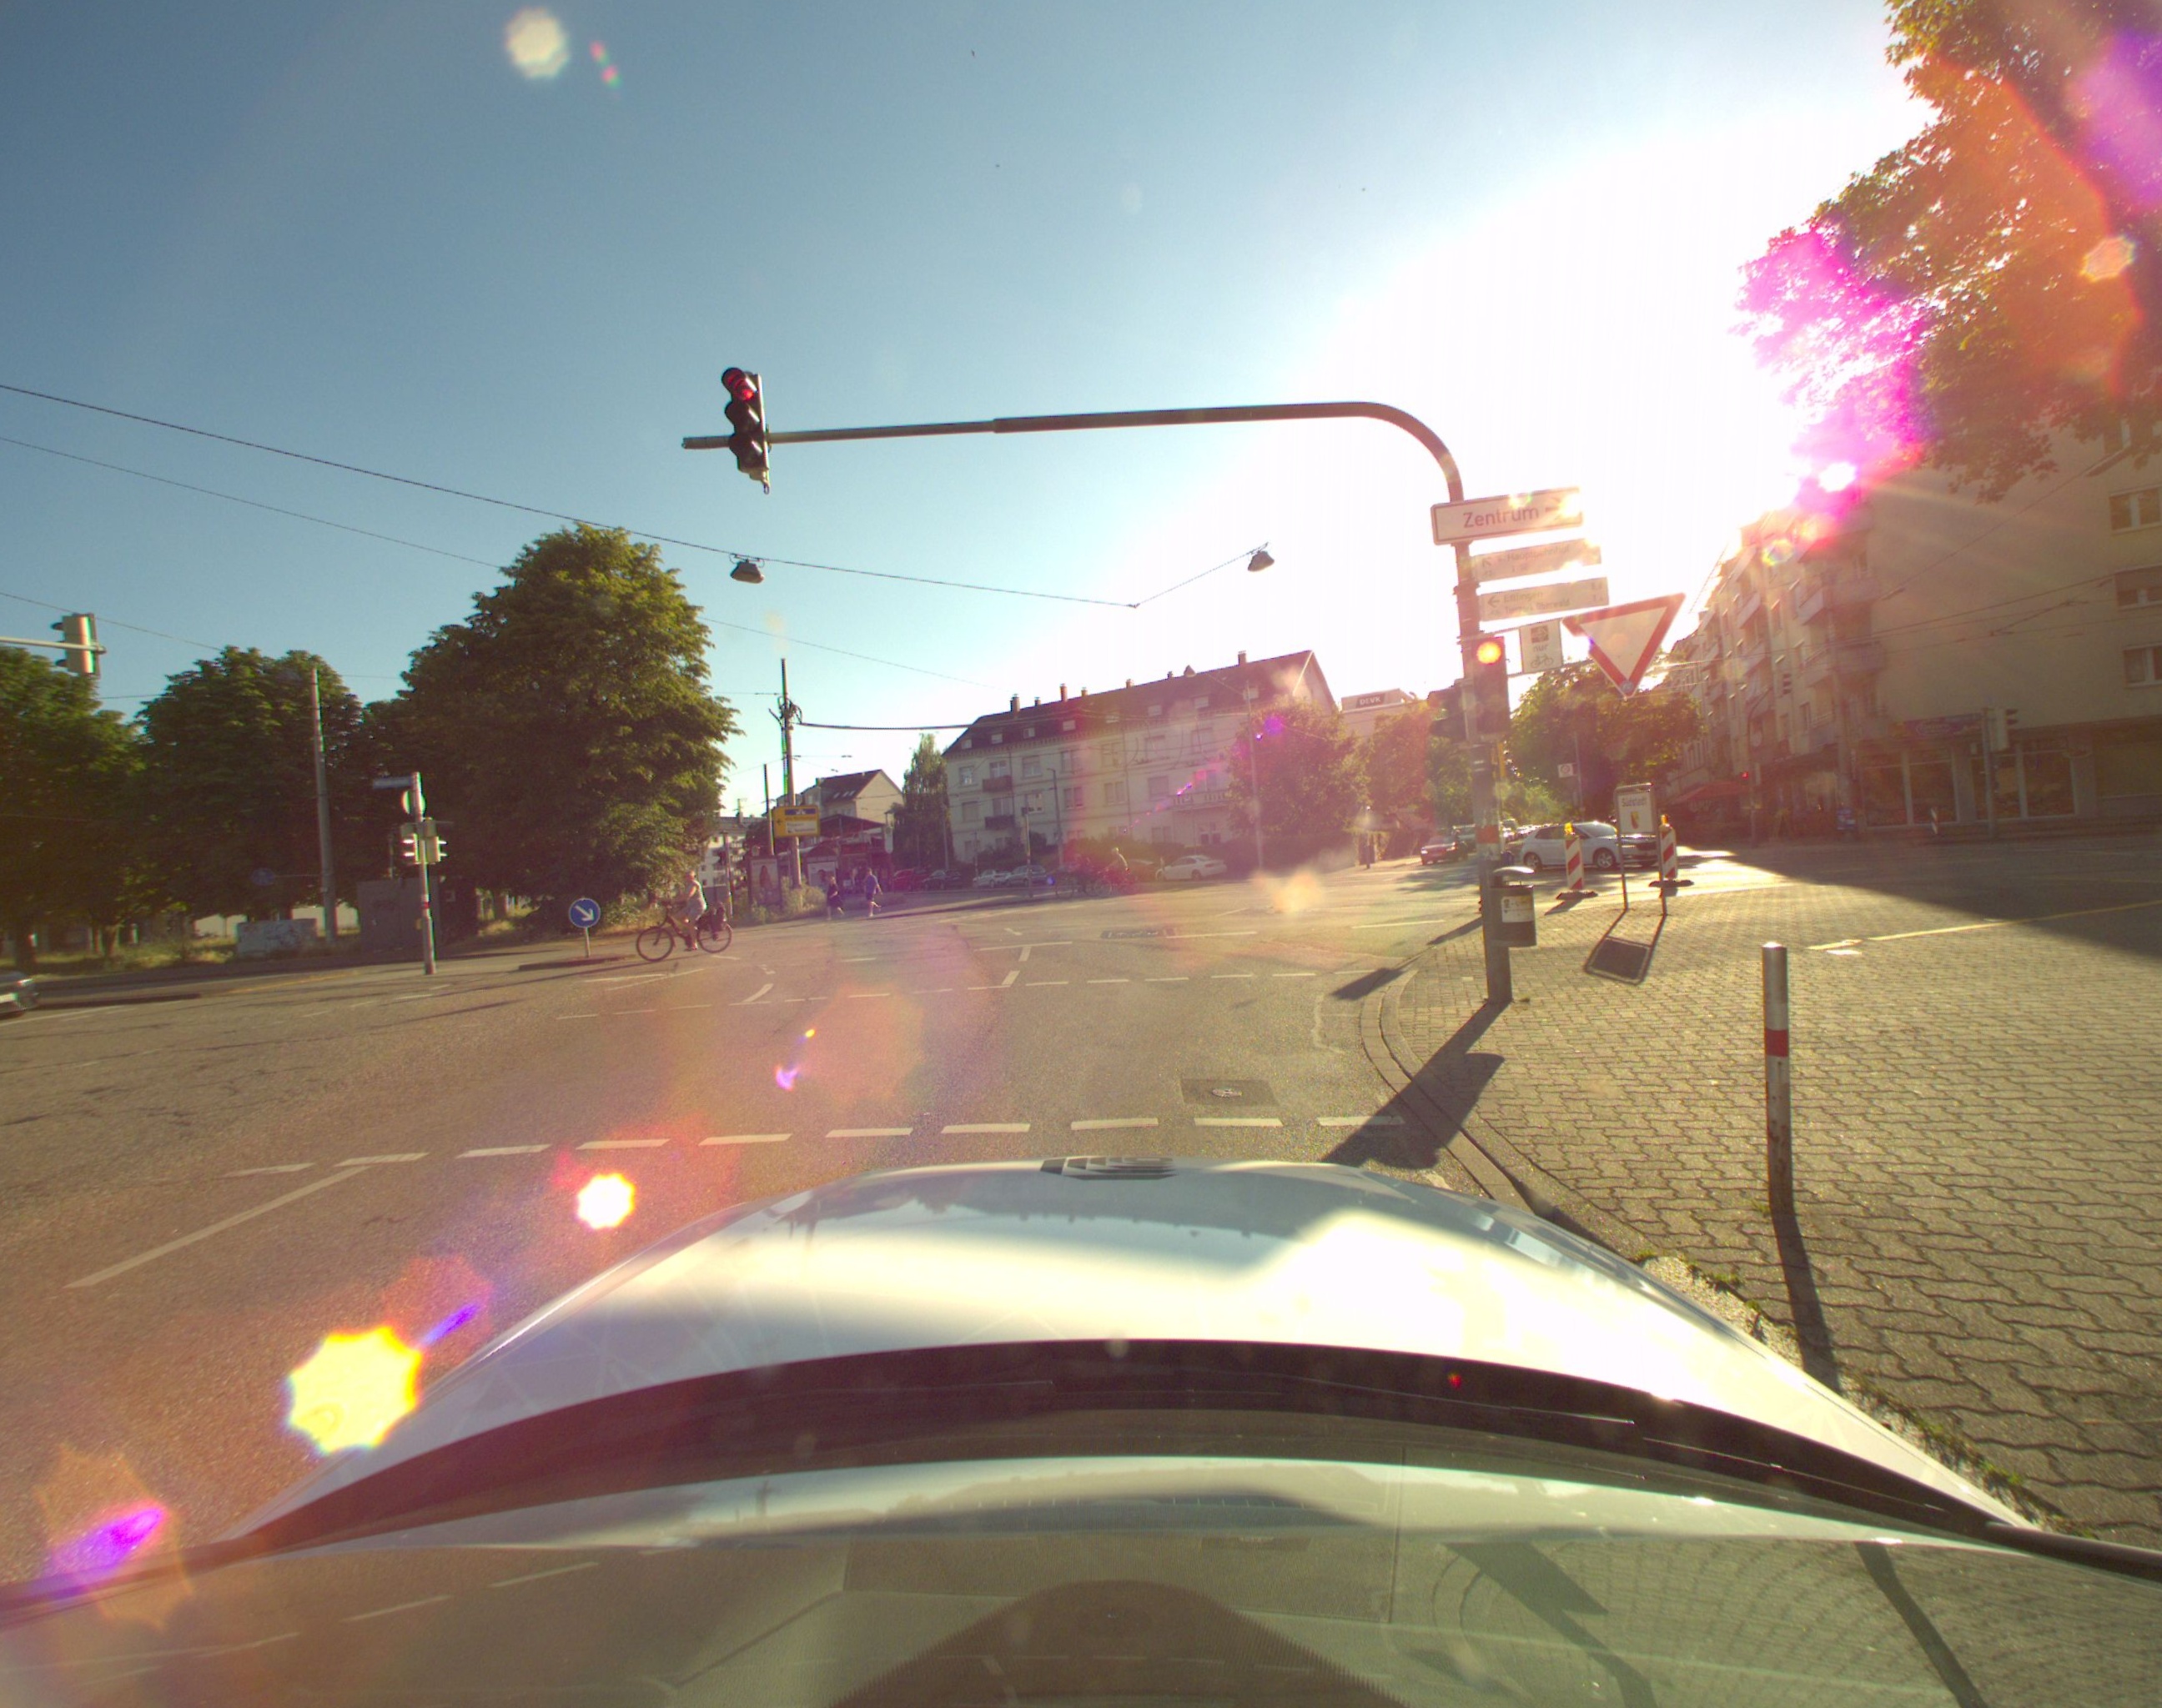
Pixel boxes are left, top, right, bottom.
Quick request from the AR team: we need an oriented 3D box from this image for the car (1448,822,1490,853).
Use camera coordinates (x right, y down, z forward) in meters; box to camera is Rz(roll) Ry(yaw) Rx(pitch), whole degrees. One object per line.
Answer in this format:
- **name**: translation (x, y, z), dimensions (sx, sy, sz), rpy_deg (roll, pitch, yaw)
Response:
- **car**: translation (28.388, -1.235, 59.445), dimensions (2.332, 2.013, 5.343), rpy_deg (-5, -1, 28)

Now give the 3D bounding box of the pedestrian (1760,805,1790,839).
- **pedestrian**: translation (33.822, -1.558, 39.686), dimensions (0.804, 1.544, 0.919), rpy_deg (-5, -1, 25)

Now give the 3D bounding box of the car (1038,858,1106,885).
- **car**: translation (-0.668, 1.197, 54.795), dimensions (1.998, 1.447, 4.650), rpy_deg (-7, 1, -39)

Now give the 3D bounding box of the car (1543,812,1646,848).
- **car**: translation (34.254, -1.545, 54.546), dimensions (5.567, 1.924, 2.377), rpy_deg (-5, -2, 28)

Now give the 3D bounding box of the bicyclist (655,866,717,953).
- **bicyclist**: translation (-7.765, 1.070, 16.001), dimensions (0.861, 1.605, 0.768), rpy_deg (-4, -1, -37)

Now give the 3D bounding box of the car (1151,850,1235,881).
- **car**: translation (6.272, 0.674, 46.124), dimensions (1.941, 1.376, 4.443), rpy_deg (-7, 1, -40)

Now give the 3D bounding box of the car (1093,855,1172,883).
- **car**: translation (3.125, 0.943, 50.195), dimensions (1.999, 1.376, 4.647), rpy_deg (-7, 1, -44)

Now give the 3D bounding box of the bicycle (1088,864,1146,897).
- **bicycle**: translation (1.314, 0.961, 30.047), dimensions (2.009, 1.069, 0.662), rpy_deg (-4, -1, -5)

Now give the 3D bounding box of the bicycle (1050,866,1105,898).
- **bicycle**: translation (-0.141, 1.061, 30.968), dimensions (2.009, 1.069, 0.662), rpy_deg (-4, -1, -5)

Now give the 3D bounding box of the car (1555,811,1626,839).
- **car**: translation (44.682, -2.514, 71.618), dimensions (5.042, 1.924, 2.377), rpy_deg (-5, -2, 28)

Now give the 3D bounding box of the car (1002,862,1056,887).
- **car**: translation (-3.743, 1.457, 58.114), dimensions (1.998, 1.447, 3.676), rpy_deg (-7, 1, -39)

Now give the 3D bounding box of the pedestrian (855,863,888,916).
- **pedestrian**: translation (-8.043, 1.361, 31.312), dimensions (0.910, 1.925, 1.066), rpy_deg (-4, -1, -3)

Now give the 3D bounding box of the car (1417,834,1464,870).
- **car**: translation (18.939, -0.129, 42.769), dimensions (1.876, 1.564, 4.419), rpy_deg (-8, -2, 26)

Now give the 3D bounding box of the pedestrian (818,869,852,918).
- **pedestrian**: translation (-9.396, 1.495, 31.135), dimensions (0.909, 1.747, 1.066), rpy_deg (-4, -1, -3)

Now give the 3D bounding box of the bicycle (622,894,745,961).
- **bicycle**: translation (-7.762, 1.404, 15.969), dimensions (2.029, 1.069, 0.656), rpy_deg (-4, -1, -38)

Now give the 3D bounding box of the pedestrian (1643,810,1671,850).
- **pedestrian**: translation (26.138, -1.076, 36.950), dimensions (0.799, 1.750, 0.710), rpy_deg (-4, -1, -38)

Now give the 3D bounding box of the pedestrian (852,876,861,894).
- **pedestrian**: translation (-18.486, 2.549, 67.070), dimensions (0.569, 1.500, 0.672), rpy_deg (-4, -1, -27)

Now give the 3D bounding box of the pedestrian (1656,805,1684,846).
- **pedestrian**: translation (25.859, -1.255, 35.732), dimensions (0.799, 1.750, 0.685), rpy_deg (-4, -1, -38)

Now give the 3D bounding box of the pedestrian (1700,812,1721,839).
- **pedestrian**: translation (34.056, -1.526, 44.062), dimensions (0.803, 1.362, 0.920), rpy_deg (-5, -1, 36)

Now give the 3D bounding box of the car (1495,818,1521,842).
- **car**: translation (47.946, -2.703, 91.345), dimensions (2.332, 2.514, 5.343), rpy_deg (-5, -1, 28)

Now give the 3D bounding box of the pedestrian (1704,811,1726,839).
- **pedestrian**: translation (33.377, -1.530, 42.908), dimensions (0.803, 1.362, 0.920), rpy_deg (-5, -1, 36)

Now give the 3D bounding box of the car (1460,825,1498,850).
- **car**: translation (31.692, -1.338, 64.750), dimensions (2.332, 1.795, 5.343), rpy_deg (-5, -1, 28)

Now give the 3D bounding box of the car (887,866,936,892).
- **car**: translation (-15.203, 2.231, 72.761), dimensions (2.067, 1.961, 5.091), rpy_deg (-7, 1, -39)

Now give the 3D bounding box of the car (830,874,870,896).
- **car**: translation (-23.845, 3.192, 83.945), dimensions (2.067, 1.961, 5.091), rpy_deg (-7, 1, -39)

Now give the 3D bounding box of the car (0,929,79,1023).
- **car**: translation (-21.391, 2.372, 14.629), dimensions (4.415, 1.567, 2.057), rpy_deg (-4, 0, 5)

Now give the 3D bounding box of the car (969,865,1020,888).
- **car**: translation (-6.586, 1.728, 61.675), dimensions (1.855, 1.447, 3.912), rpy_deg (-7, 1, -39)

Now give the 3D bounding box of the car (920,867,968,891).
- **car**: translation (-11.406, 2.073, 67.627), dimensions (1.855, 1.667, 4.319), rpy_deg (-7, 1, -39)

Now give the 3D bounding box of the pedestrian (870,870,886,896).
- **pedestrian**: translation (-16.454, 2.365, 66.006), dimensions (0.928, 2.013, 0.761), rpy_deg (-4, 0, -34)

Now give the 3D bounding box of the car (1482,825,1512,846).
- **car**: translation (39.717, -1.797, 77.670), dimensions (2.332, 1.795, 5.343), rpy_deg (-5, -1, 28)

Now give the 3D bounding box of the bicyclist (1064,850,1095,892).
- **bicyclist**: translation (-0.058, 0.642, 31.011), dimensions (1.032, 1.532, 0.660), rpy_deg (-4, -1, -4)

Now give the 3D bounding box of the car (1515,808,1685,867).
- **car**: translation (15.273, -0.427, 24.232), dimensions (1.894, 1.486, 3.980), rpy_deg (-4, 0, -15)

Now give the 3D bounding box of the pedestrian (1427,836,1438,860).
- **pedestrian**: translation (25.919, -0.464, 60.015), dimensions (0.573, 1.730, 0.612), rpy_deg (-4, -1, 26)

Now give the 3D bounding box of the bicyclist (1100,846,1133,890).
- **bicyclist**: translation (1.291, 0.520, 30.044), dimensions (1.032, 1.532, 0.697), rpy_deg (-4, -1, -4)
